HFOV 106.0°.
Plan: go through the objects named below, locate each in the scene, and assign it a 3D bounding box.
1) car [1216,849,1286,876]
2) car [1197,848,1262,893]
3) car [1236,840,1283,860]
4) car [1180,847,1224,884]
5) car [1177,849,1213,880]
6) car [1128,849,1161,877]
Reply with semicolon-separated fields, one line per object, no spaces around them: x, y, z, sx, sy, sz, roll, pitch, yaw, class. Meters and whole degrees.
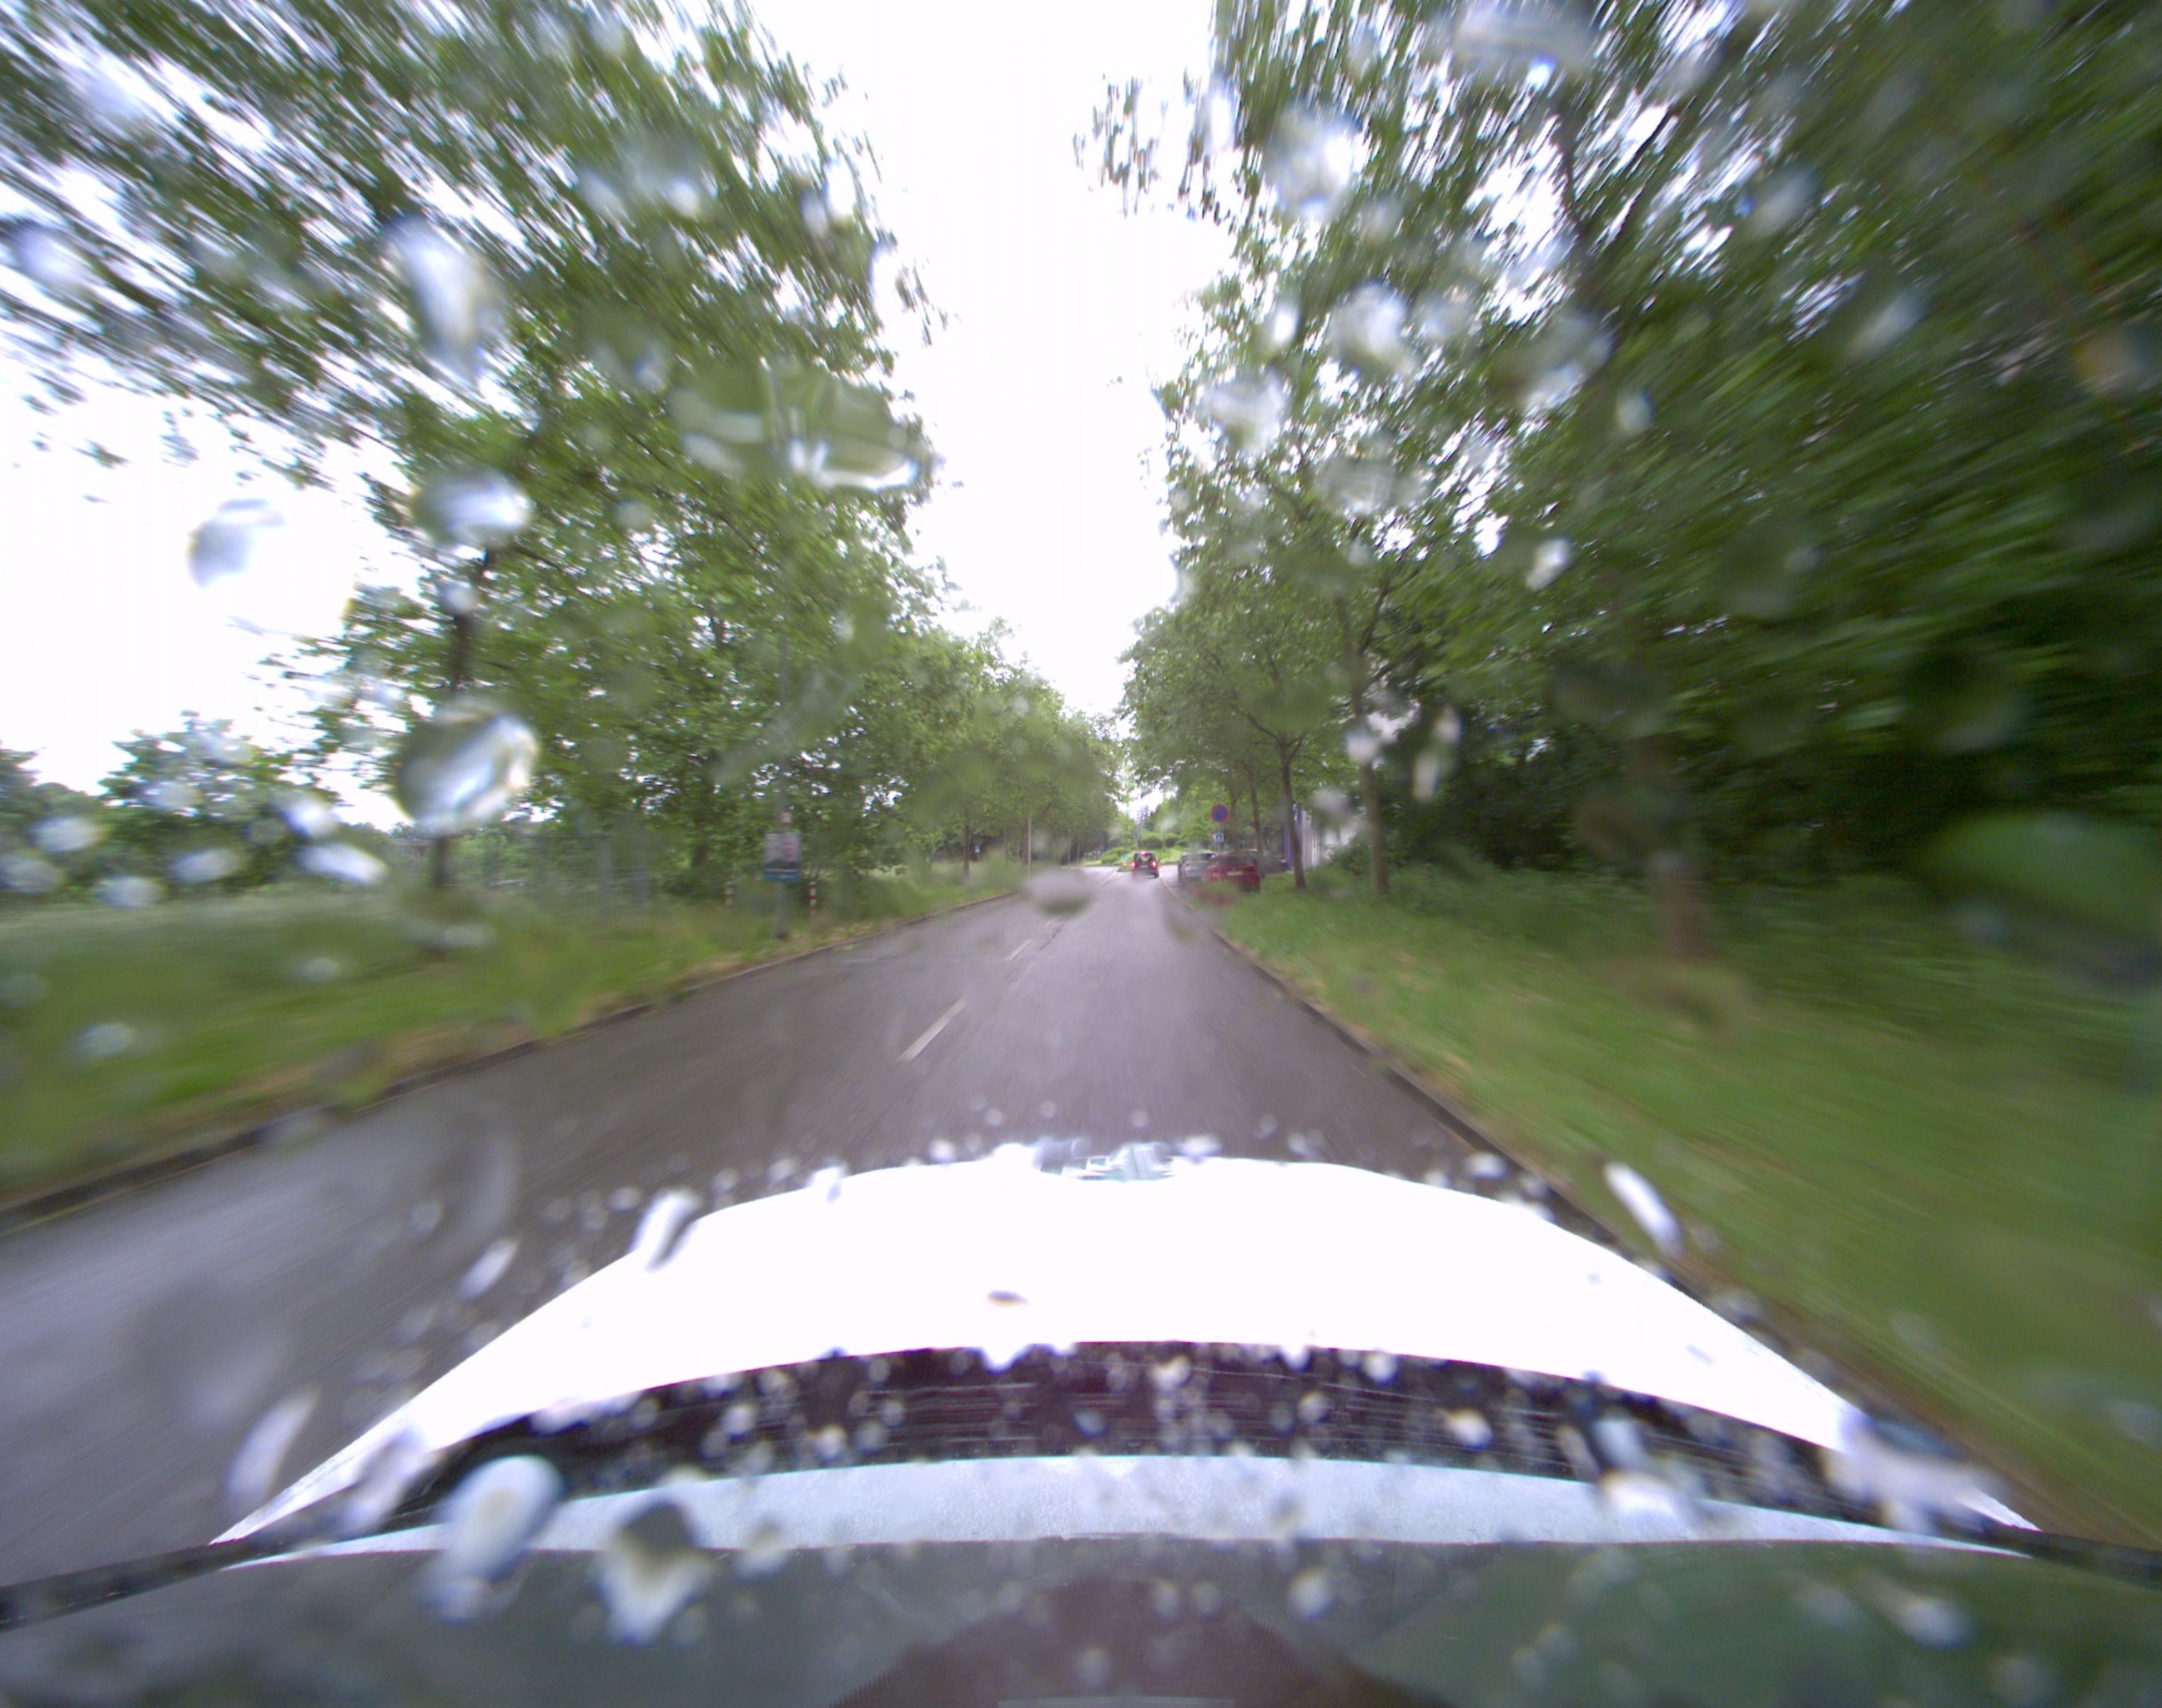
11.237;0.548;54.066;4.448;1.680;1.771;-1;1;6;car
5.032;0.537;28.052;1.789;1.372;3.748;-2;0;4;car
17.013;-0.393;77.678;4.350;1.759;1.835;1;2;10;car
5.787;0.535;39.309;1.720;1.591;4.258;-3;-1;4;car
6.374;0.564;45.891;1.792;1.602;4.378;-2;0;5;car
4.495;0.593;57.407;1.907;1.801;3.800;-4;0;9;car
